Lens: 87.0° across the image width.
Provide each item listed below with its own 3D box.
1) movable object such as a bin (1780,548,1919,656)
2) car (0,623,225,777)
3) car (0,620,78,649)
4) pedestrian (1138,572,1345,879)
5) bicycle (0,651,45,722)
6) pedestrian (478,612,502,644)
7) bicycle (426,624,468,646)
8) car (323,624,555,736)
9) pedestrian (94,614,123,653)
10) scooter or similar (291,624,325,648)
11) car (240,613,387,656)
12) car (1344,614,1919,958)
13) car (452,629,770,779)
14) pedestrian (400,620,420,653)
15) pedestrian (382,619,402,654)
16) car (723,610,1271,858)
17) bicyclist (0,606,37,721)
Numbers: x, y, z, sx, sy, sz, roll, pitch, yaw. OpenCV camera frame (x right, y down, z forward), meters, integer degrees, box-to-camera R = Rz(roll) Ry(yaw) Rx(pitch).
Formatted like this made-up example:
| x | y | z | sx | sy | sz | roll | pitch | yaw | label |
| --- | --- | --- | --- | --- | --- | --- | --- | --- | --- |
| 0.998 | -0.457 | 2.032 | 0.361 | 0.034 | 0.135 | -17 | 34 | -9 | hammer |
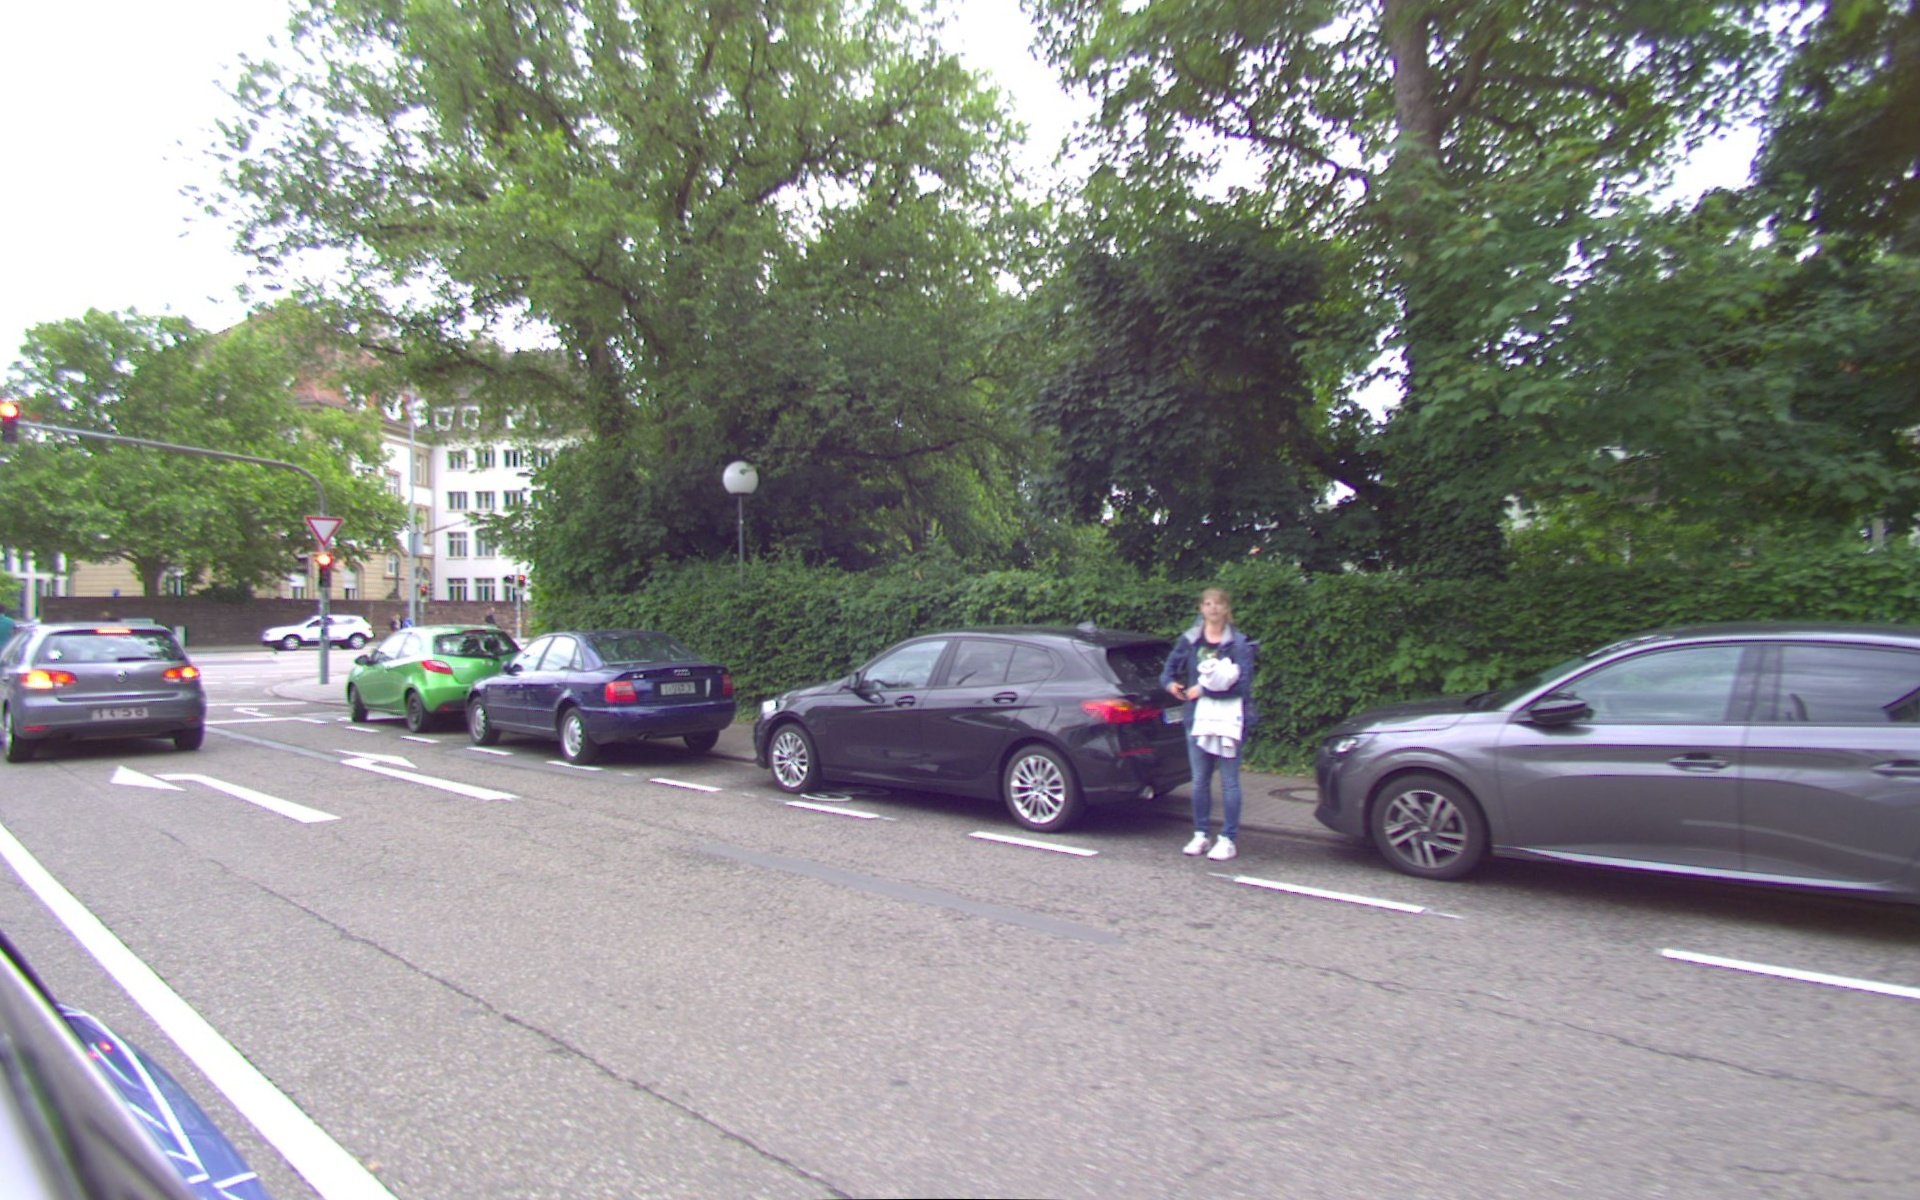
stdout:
| x | y | z | sx | sy | sz | roll | pitch | yaw | label |
| --- | --- | --- | --- | --- | --- | --- | --- | --- | --- |
| 19.917 | 0.129 | 22.806 | 1.997 | 2.188 | 4.612 | -1 | -3 | 37 | movable object such as a bin |
| -10.367 | 1.028 | 11.973 | 4.165 | 1.508 | 1.765 | -1 | -2 | 40 | car |
| -65.580 | 2.432 | 71.708 | 1.977 | 1.592 | 4.394 | -11 | -1 | 6 | car |
| 1.704 | 0.710 | 6.155 | 0.967 | 1.674 | 0.731 | -3 | -3 | 42 | pedestrian |
| -15.362 | 1.356 | 16.170 | 1.852 | 1.045 | 0.652 | -1 | -2 | 33 | bicycle |
| -26.824 | 1.601 | 57.729 | 0.757 | 1.802 | 0.993 | 0 | -1 | 39 | pedestrian |
| -29.246 | 1.993 | 57.778 | 0.581 | 1.194 | 2.132 | 1 | -1 | 32 | bicycle |
| -8.053 | 1.108 | 15.480 | 4.247 | 1.481 | 1.778 | -1 | -2 | 42 | car |
| -37.840 | 1.483 | 44.957 | 0.790 | 1.677 | 0.799 | -6 | -3 | 37 | pedestrian |
| -33.586 | 1.860 | 52.145 | 1.389 | 1.239 | 0.497 | 1 | 0 | -31 | scooter or similar |
| -29.405 | 1.561 | 46.167 | 2.048 | 1.710 | 5.297 | -5 | -3 | 44 | car |
| 4.276 | 0.826 | 5.399 | 3.822 | 1.482 | 1.744 | -1 | -2 | 40 | car |
| -4.240 | 1.062 | 11.906 | 4.338 | 1.419 | 1.777 | -1 | -2 | 44 | car |
| -29.042 | 1.915 | 53.434 | 0.779 | 1.706 | 0.634 | 0 | -1 | 40 | pedestrian |
| -29.689 | 1.897 | 52.868 | 0.734 | 1.752 | 0.662 | 0 | -1 | 38 | pedestrian |
| 0.090 | 0.927 | 8.578 | 4.527 | 1.573 | 1.779 | -2 | -3 | 40 | car |
| -15.359 | 0.998 | 16.174 | 0.981 | 1.793 | 0.652 | -1 | -2 | 33 | bicyclist |
